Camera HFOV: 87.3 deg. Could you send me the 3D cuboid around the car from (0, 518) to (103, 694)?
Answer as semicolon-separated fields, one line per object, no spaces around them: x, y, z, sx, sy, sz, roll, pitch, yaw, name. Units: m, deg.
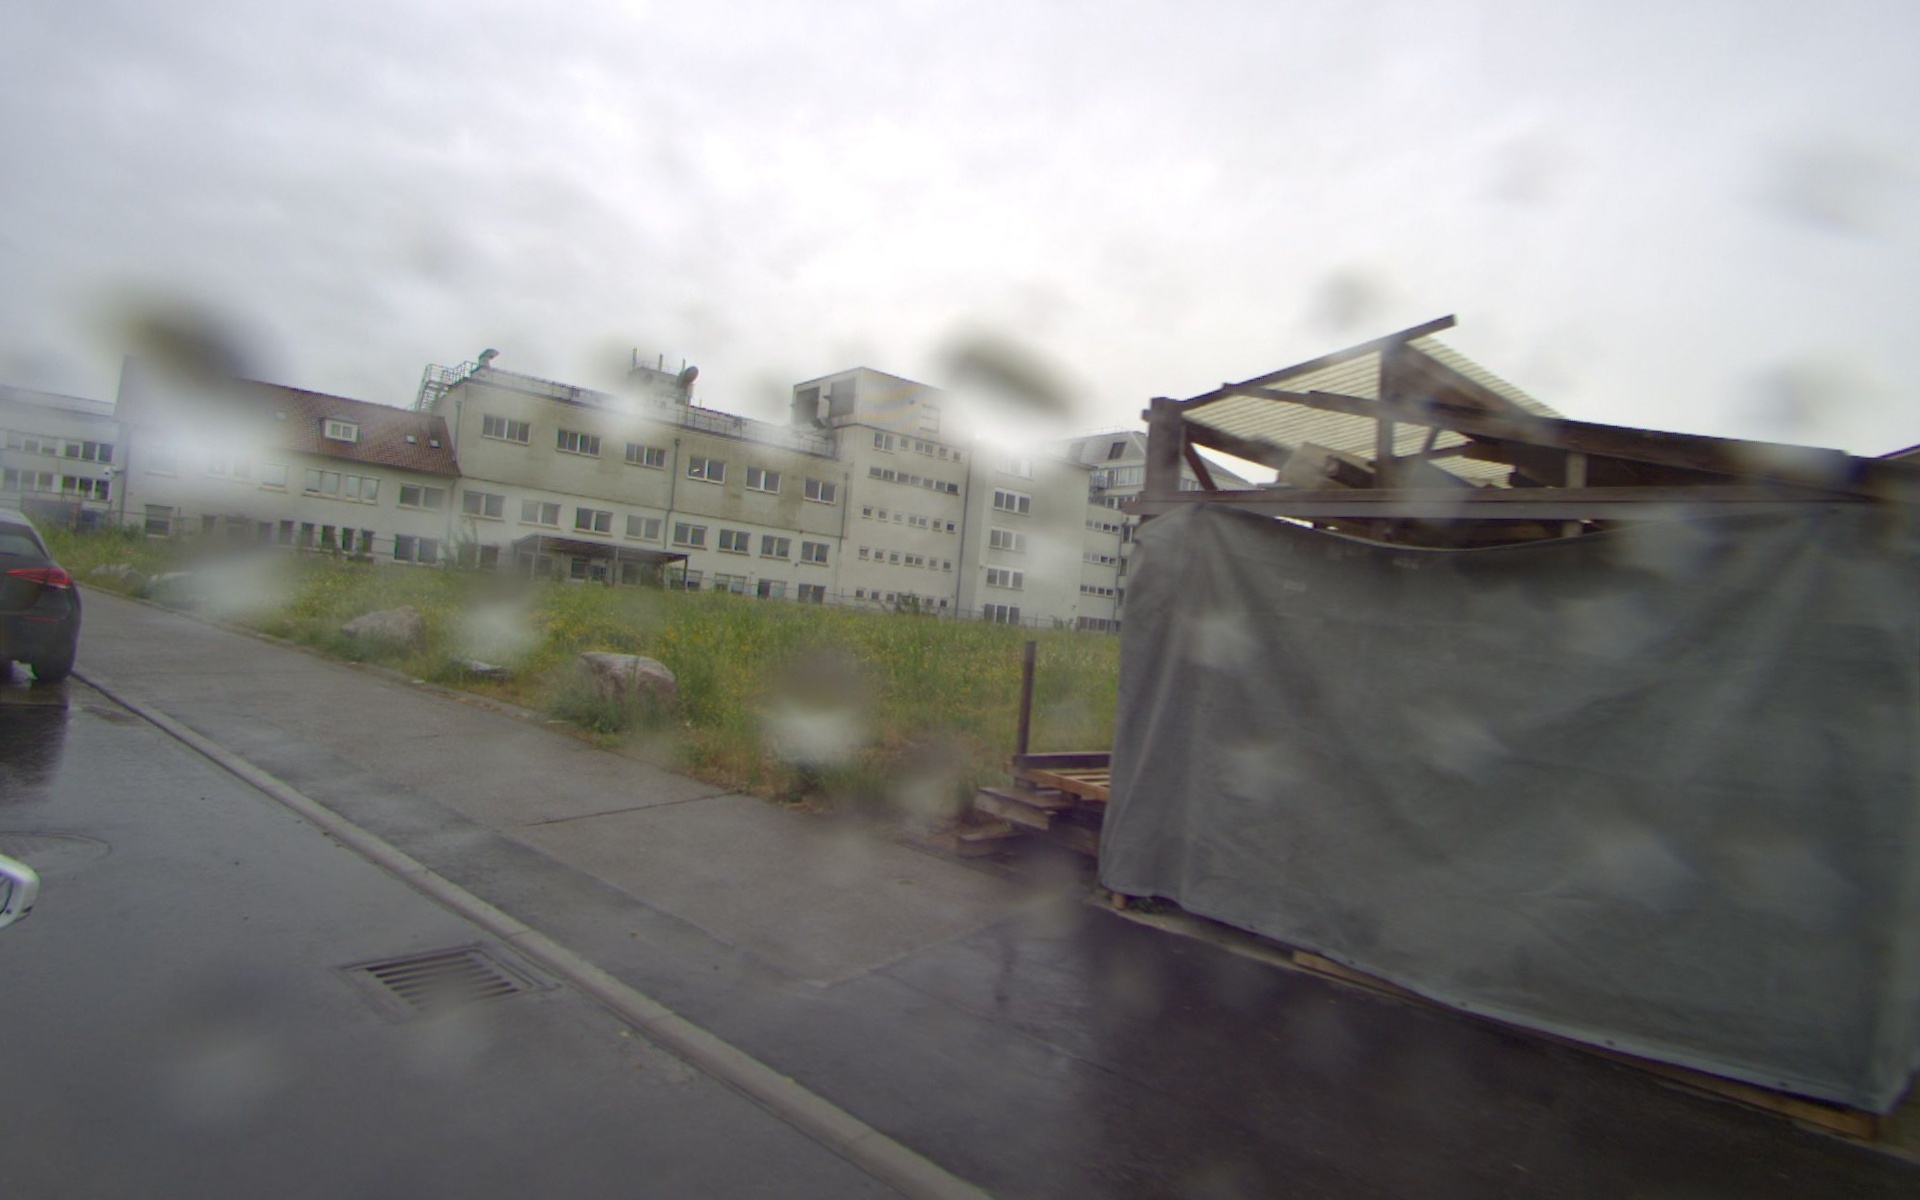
-9.340;-0.136;8.946;4.258;1.351;1.768;5;-2;39;car
